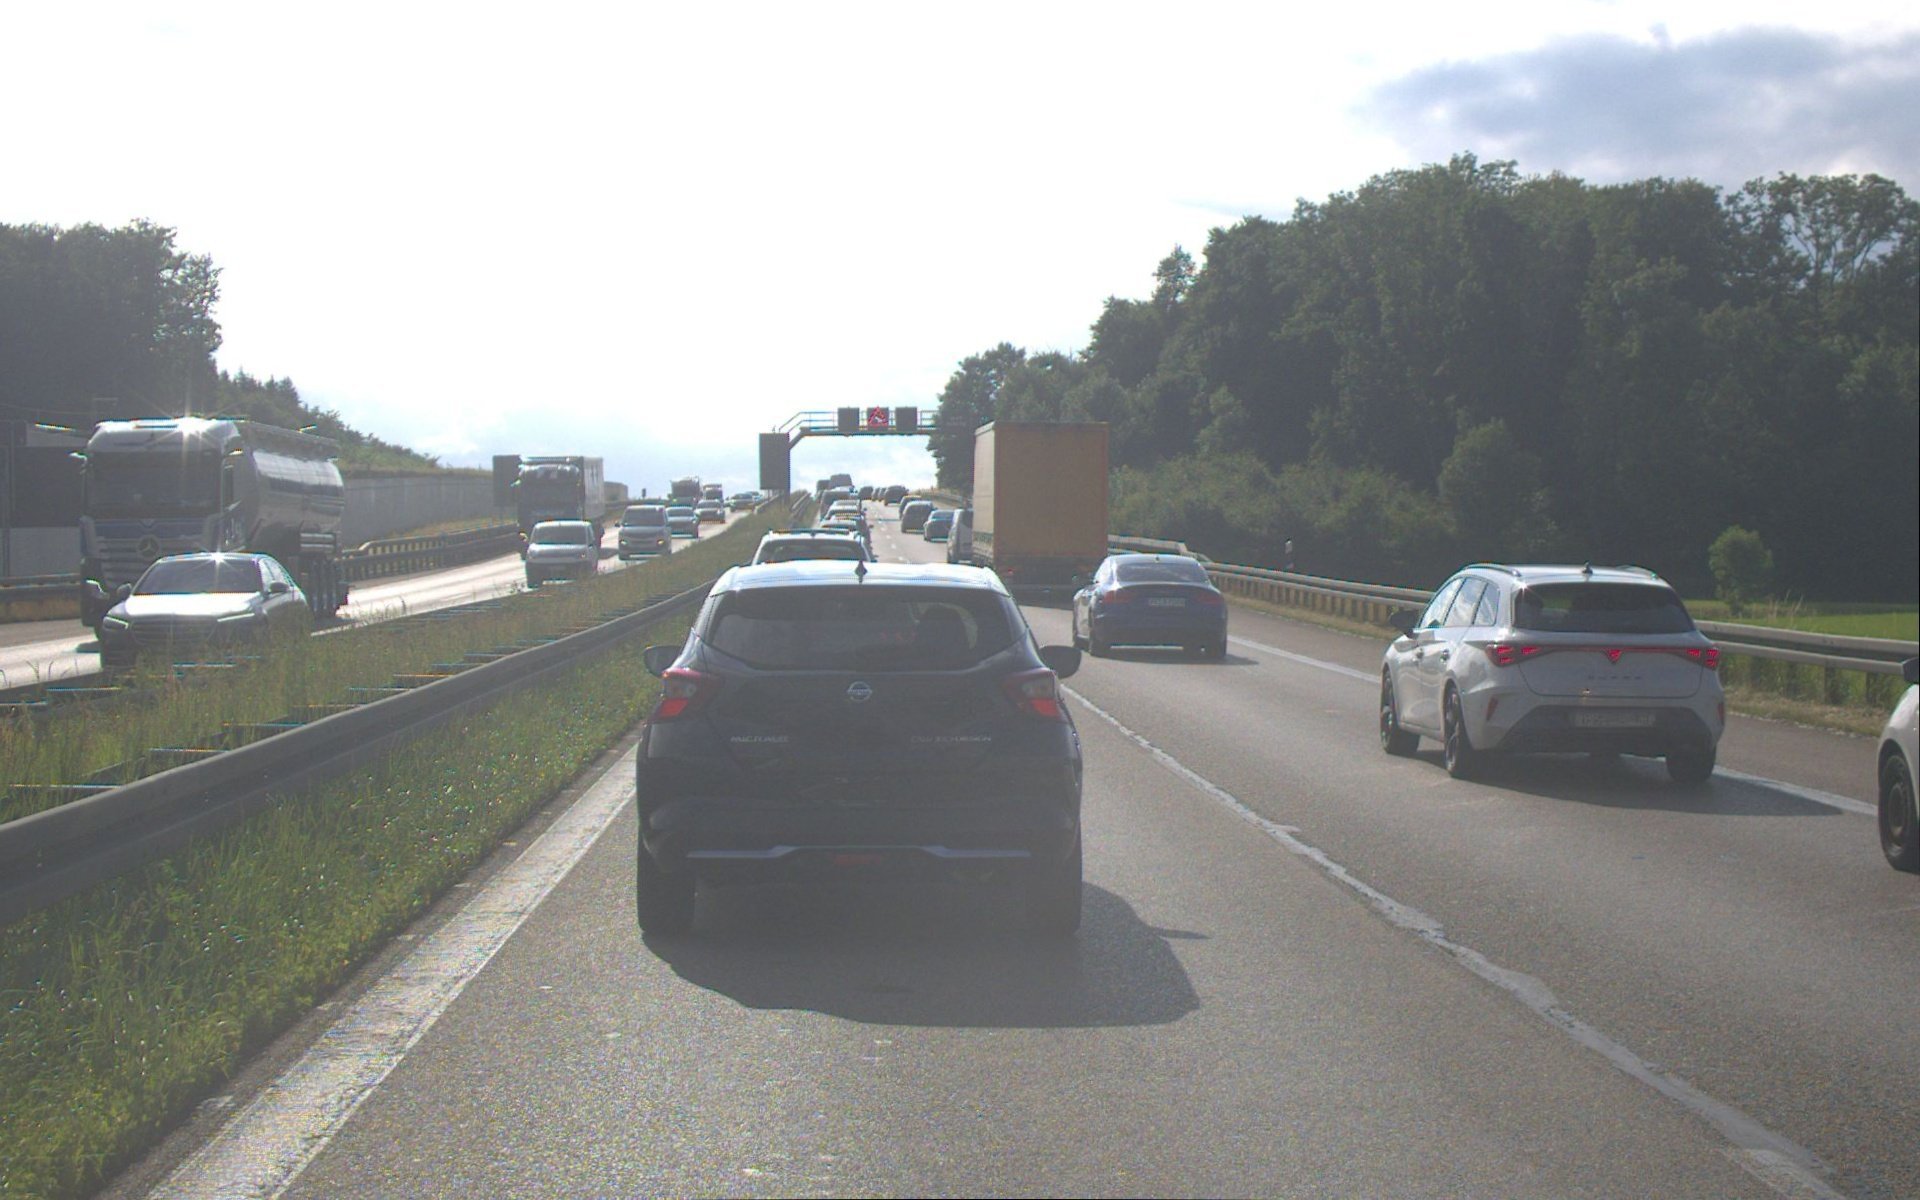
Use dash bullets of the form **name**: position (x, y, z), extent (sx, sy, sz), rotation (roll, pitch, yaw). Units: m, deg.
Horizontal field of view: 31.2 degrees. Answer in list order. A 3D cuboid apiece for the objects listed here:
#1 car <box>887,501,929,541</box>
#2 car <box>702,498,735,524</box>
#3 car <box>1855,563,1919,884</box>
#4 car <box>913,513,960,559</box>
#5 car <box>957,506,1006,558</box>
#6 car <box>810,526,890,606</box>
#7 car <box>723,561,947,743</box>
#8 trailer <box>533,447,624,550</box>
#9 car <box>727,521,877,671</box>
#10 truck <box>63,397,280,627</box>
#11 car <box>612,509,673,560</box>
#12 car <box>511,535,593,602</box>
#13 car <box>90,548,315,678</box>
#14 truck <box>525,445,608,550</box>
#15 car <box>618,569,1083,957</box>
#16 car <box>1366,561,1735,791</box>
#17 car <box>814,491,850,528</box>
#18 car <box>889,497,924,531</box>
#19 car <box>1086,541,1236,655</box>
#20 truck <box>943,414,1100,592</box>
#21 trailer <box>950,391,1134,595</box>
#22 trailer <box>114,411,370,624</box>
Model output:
- **car**: position (-2.688, -4.049, 176.943), extent (1.993, 2.007, 4.000), rotation (1, 0, -2)
- **car**: position (-14.760, -5.447, 210.172), extent (1.902, 1.459, 4.184), rotation (1, 0, -2)
- **car**: position (5.308, 0.610, 15.363), extent (1.548, 1.490, 3.378), rotation (1, 1, -3)
- **car**: position (-1.084, -2.926, 157.781), extent (1.993, 2.007, 4.000), rotation (1, 0, -2)
- **car**: position (0.760, -2.382, 121.077), extent (1.667, 1.749, 3.327), rotation (1, 0, 0)
- **car**: position (-2.865, -0.872, 88.840), extent (1.993, 2.007, 4.000), rotation (1, 0, -2)
- **car**: position (-0.970, 0.384, 27.818), extent (1.674, 1.362, 3.596), rotation (1, 0, -1)
- **trailer**: position (-16.145, -4.215, 146.249), extent (2.759, 4.101, 12.905), rotation (0, 0, -2)
- **car**: position (-1.876, -0.058, 41.702), extent (1.674, 1.720, 3.596), rotation (1, 0, -1)
- **truck**: position (-13.757, -1.496, 60.372), extent (2.552, 3.785, 5.417), rotation (-1, 0, -1)
- **car**: position (-12.230, -2.509, 132.582), extent (1.993, 1.877, 4.787), rotation (-2, 0, -1)
- **car**: position (-11.440, -0.876, 96.638), extent (1.860, 1.827, 4.281), rotation (1, 0, -1)
- **car**: position (-9.397, 0.142, 42.994), extent (1.803, 1.511, 4.691), rotation (1, 0, -1)
- **truck**: position (-15.914, -4.103, 139.417), extent (2.754, 4.076, 6.954), rotation (0, 0, -2)
- **car**: position (-0.412, 0.596, 14.460), extent (1.710, 1.421, 3.378), rotation (1, 0, 0)
- **car**: position (3.997, 0.471, 23.907), extent (1.620, 1.441, 4.147), rotation (1, 0, -3)
- **car**: position (-7.258, -5.138, 195.284), extent (1.993, 2.007, 4.000), rotation (1, 0, -2)
- **car**: position (-3.282, -5.249, 210.534), extent (1.993, 2.007, 4.000), rotation (1, 0, -2)
- **car**: position (2.710, -0.043, 47.088), extent (1.747, 1.470, 4.147), rotation (1, 0, -1)
- **truck**: position (1.514, -2.437, 88.872), extent (3.581, 4.365, 6.689), rotation (1, 0, -3)
- **trailer**: position (1.786, -2.401, 82.118), extent (3.548, 4.442, 12.723), rotation (1, 0, -2)
- **trailer**: position (-13.902, -1.525, 67.714), extent (2.540, 3.758, 12.542), rotation (-1, 0, -1)
